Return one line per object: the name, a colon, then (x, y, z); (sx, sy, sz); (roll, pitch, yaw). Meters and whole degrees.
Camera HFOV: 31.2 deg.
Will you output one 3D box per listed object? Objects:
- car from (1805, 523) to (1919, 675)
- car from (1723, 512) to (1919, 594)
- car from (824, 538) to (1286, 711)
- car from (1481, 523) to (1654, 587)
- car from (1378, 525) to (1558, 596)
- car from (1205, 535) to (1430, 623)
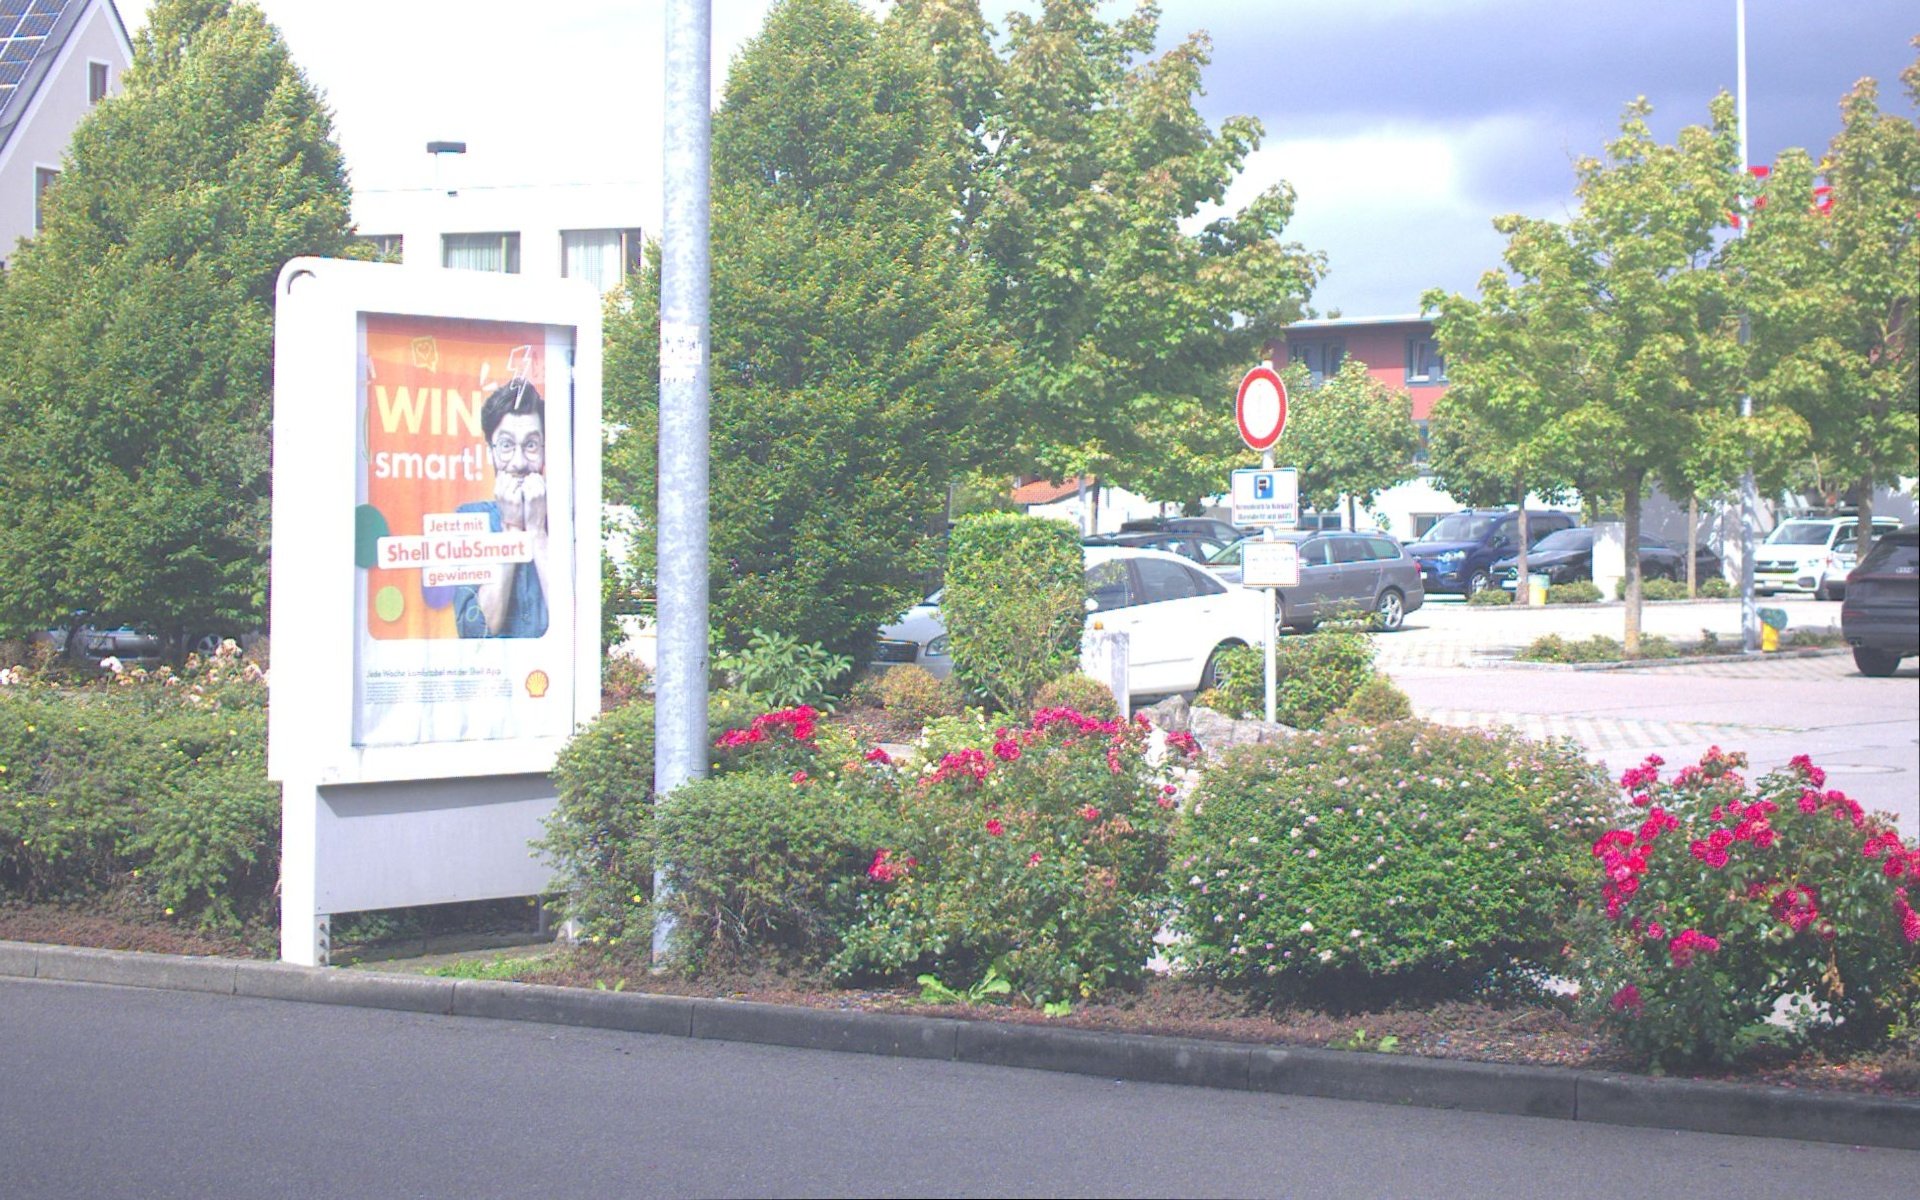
car: (11.125, -0.010, 36.722); (4.491, 1.543, 1.885); (0, 1, -43)
car: (20.235, -1.092, 80.635); (4.864, 1.827, 2.184); (0, 1, -43)
car: (0.896, 0.200, 29.918); (4.332, 1.399, 1.370); (0, 1, -44)
car: (11.504, -0.845, 65.028); (3.409, 1.174, 1.485); (0, 1, -44)
car: (9.875, -0.764, 66.775); (3.379, 1.316, 1.747); (0, 1, -44)
car: (5.193, -0.294, 49.708); (3.218, 1.224, 1.505); (0, 1, -44)
